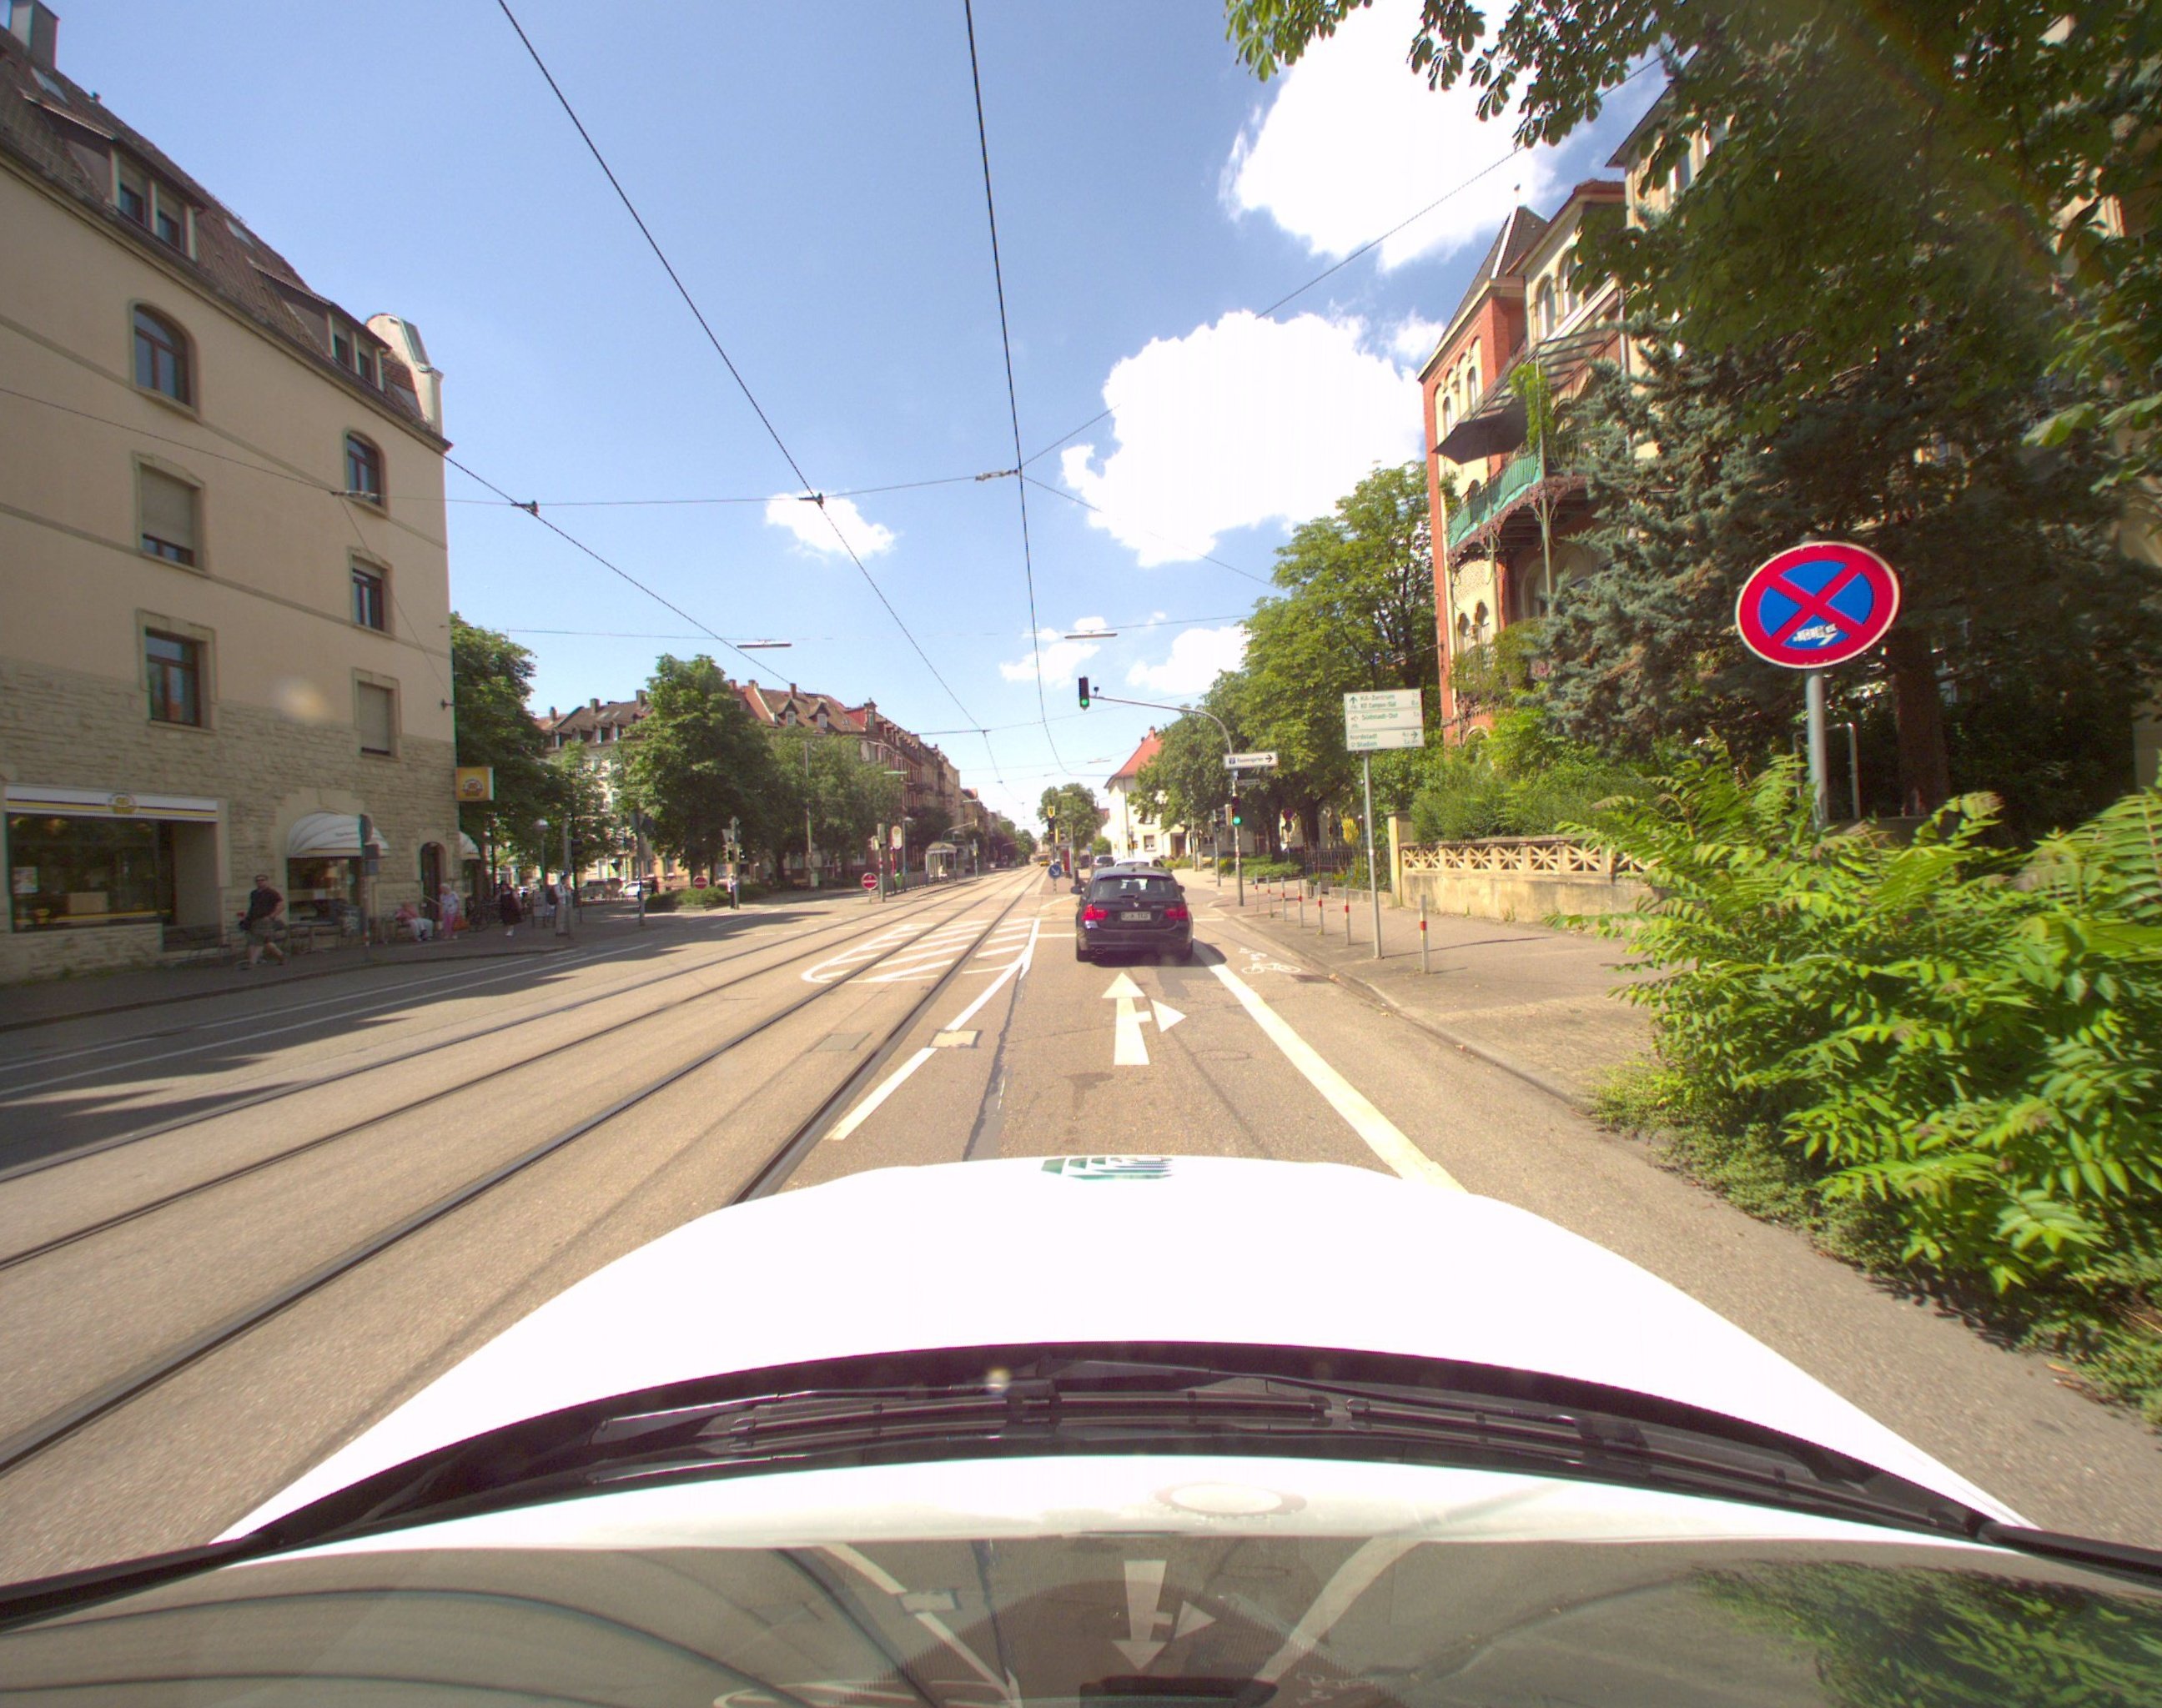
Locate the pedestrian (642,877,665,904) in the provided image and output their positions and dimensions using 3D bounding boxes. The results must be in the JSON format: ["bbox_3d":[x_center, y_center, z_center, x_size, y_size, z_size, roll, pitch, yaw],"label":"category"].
[{"bbox_3d":[-31.207,2.636,59.462,0.993,1.868,1.021,-3,-1,12],"label":"pedestrian"}]

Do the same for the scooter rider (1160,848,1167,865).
[{"bbox_3d":[8.837,0.272,87.103,0.590,1.687,0.527,-3,0,-7],"label":"scooter rider"}]

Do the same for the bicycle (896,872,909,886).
[{"bbox_3d":[-14.882,2.087,67.830,0.727,1.101,1.713,-3,0,-3],"label":"bicycle"}]

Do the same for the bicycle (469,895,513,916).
[{"bbox_3d":[-32.745,2.855,45.187,1.859,1.032,0.540,-3,0,-25],"label":"bicycle"}]

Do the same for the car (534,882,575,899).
[{"bbox_3d":[-52.036,3.612,80.529,3.429,1.471,1.694,-3,0,23],"label":"car"}]

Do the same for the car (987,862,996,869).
[{"bbox_3d":[-20.031,2.546,182.194,1.788,1.586,3.985,-2,-1,-10],"label":"car"}]

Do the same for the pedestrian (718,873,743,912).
[{"bbox_3d":[-16.413,1.788,38.125,0.843,1.723,0.910,-3,-1,-32],"label":"pedestrian"}]

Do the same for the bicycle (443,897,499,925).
[{"bbox_3d":[-26.462,2.469,35.346,1.866,1.032,0.538,-3,-1,-42],"label":"bicycle"}]

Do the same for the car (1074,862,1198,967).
[{"bbox_3d":[0.903,0.868,13.662,1.715,1.409,4.569,-1,0,3],"label":"car"}]

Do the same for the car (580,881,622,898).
[{"bbox_3d":[-46.161,3.393,78.248,3.429,1.471,1.694,-3,0,23],"label":"car"}]

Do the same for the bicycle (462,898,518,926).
[{"bbox_3d":[-24.352,2.382,33.590,0.537,1.032,1.743,-3,0,31],"label":"bicycle"}]

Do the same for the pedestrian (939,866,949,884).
[{"bbox_3d":[-9.728,1.473,58.019,0.613,1.243,0.626,-3,-1,-8],"label":"pedestrian"}]

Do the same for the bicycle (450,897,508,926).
[{"bbox_3d":[-25.431,2.426,34.445,0.537,1.032,1.868,-3,0,31],"label":"bicycle"}]

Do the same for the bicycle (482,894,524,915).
[{"bbox_3d":[-33.202,2.890,46.800,1.859,1.032,0.540,-3,0,-25],"label":"bicycle"}]

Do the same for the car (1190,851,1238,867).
[{"bbox_3d":[12.200,0.457,74.905,3.948,1.243,1.634,-3,0,33],"label":"car"}]

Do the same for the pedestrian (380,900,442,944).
[{"bbox_3d":[-18.424,1.859,22.422,0.913,1.077,0.882,-3,0,-1],"label":"pedestrian"}]

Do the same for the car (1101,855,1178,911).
[{"bbox_3d":[1.870,0.829,25.052,1.673,1.484,3.698,-3,0,14],"label":"car"}]

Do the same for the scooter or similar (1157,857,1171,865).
[{"bbox_3d":[8.873,0.771,87.099,1.311,0.837,0.525,-3,-1,-8],"label":"scooter or similar"}]

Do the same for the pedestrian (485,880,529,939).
[{"bbox_3d":[-16.834,1.603,23.919,0.864,1.635,1.018,-1,-1,-25],"label":"pedestrian"}]

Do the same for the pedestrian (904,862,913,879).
[{"bbox_3d":[-18.940,1.830,89.409,0.632,1.811,0.745,-3,-1,32],"label":"pedestrian"}]

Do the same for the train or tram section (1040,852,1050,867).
[{"bbox_3d":[-8.755,1.375,196.662,2.185,3.482,8.837,-3,0,-2],"label":"train or tram section"}]

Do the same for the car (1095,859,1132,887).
[{"bbox_3d":[1.681,0.952,43.020,1.686,1.323,3.819,-3,0,-1],"label":"car"}]

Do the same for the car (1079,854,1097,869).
[{"bbox_3d":[0.930,0.937,108.401,1.991,1.849,3.992,-3,0,-5],"label":"car"}]

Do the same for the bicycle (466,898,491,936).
[{"bbox_3d":[-19.125,2.001,25.841,0.547,1.128,1.663,-2,-2,-39],"label":"bicycle"}]

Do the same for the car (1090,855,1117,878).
[{"bbox_3d":[1.567,0.864,57.499,1.686,1.514,3.820,-3,0,-1],"label":"car"}]

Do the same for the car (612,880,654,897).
[{"bbox_3d":[-42.424,3.266,77.139,3.429,1.471,1.694,-3,0,23],"label":"car"}]

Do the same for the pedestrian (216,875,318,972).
[{"bbox_3d":[-16.818,1.409,16.862,0.898,1.891,1.163,-2,-1,-3],"label":"pedestrian"}]

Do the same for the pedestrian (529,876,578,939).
[{"bbox_3d":[-15.102,1.525,23.333,0.857,1.732,0.775,-2,0,0],"label":"pedestrian"}]

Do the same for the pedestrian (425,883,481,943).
[{"bbox_3d":[-17.814,1.652,23.113,0.805,1.594,0.918,-3,0,-4],"label":"pedestrian"}]

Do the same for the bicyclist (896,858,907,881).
[{"bbox_3d":[-14.929,1.305,67.765,0.720,1.870,0.825,-3,0,-2],"label":"bicyclist"}]

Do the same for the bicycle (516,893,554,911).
[{"bbox_3d":[-34.467,3.020,51.429,1.859,1.032,0.540,-3,0,-25],"label":"bicycle"}]
